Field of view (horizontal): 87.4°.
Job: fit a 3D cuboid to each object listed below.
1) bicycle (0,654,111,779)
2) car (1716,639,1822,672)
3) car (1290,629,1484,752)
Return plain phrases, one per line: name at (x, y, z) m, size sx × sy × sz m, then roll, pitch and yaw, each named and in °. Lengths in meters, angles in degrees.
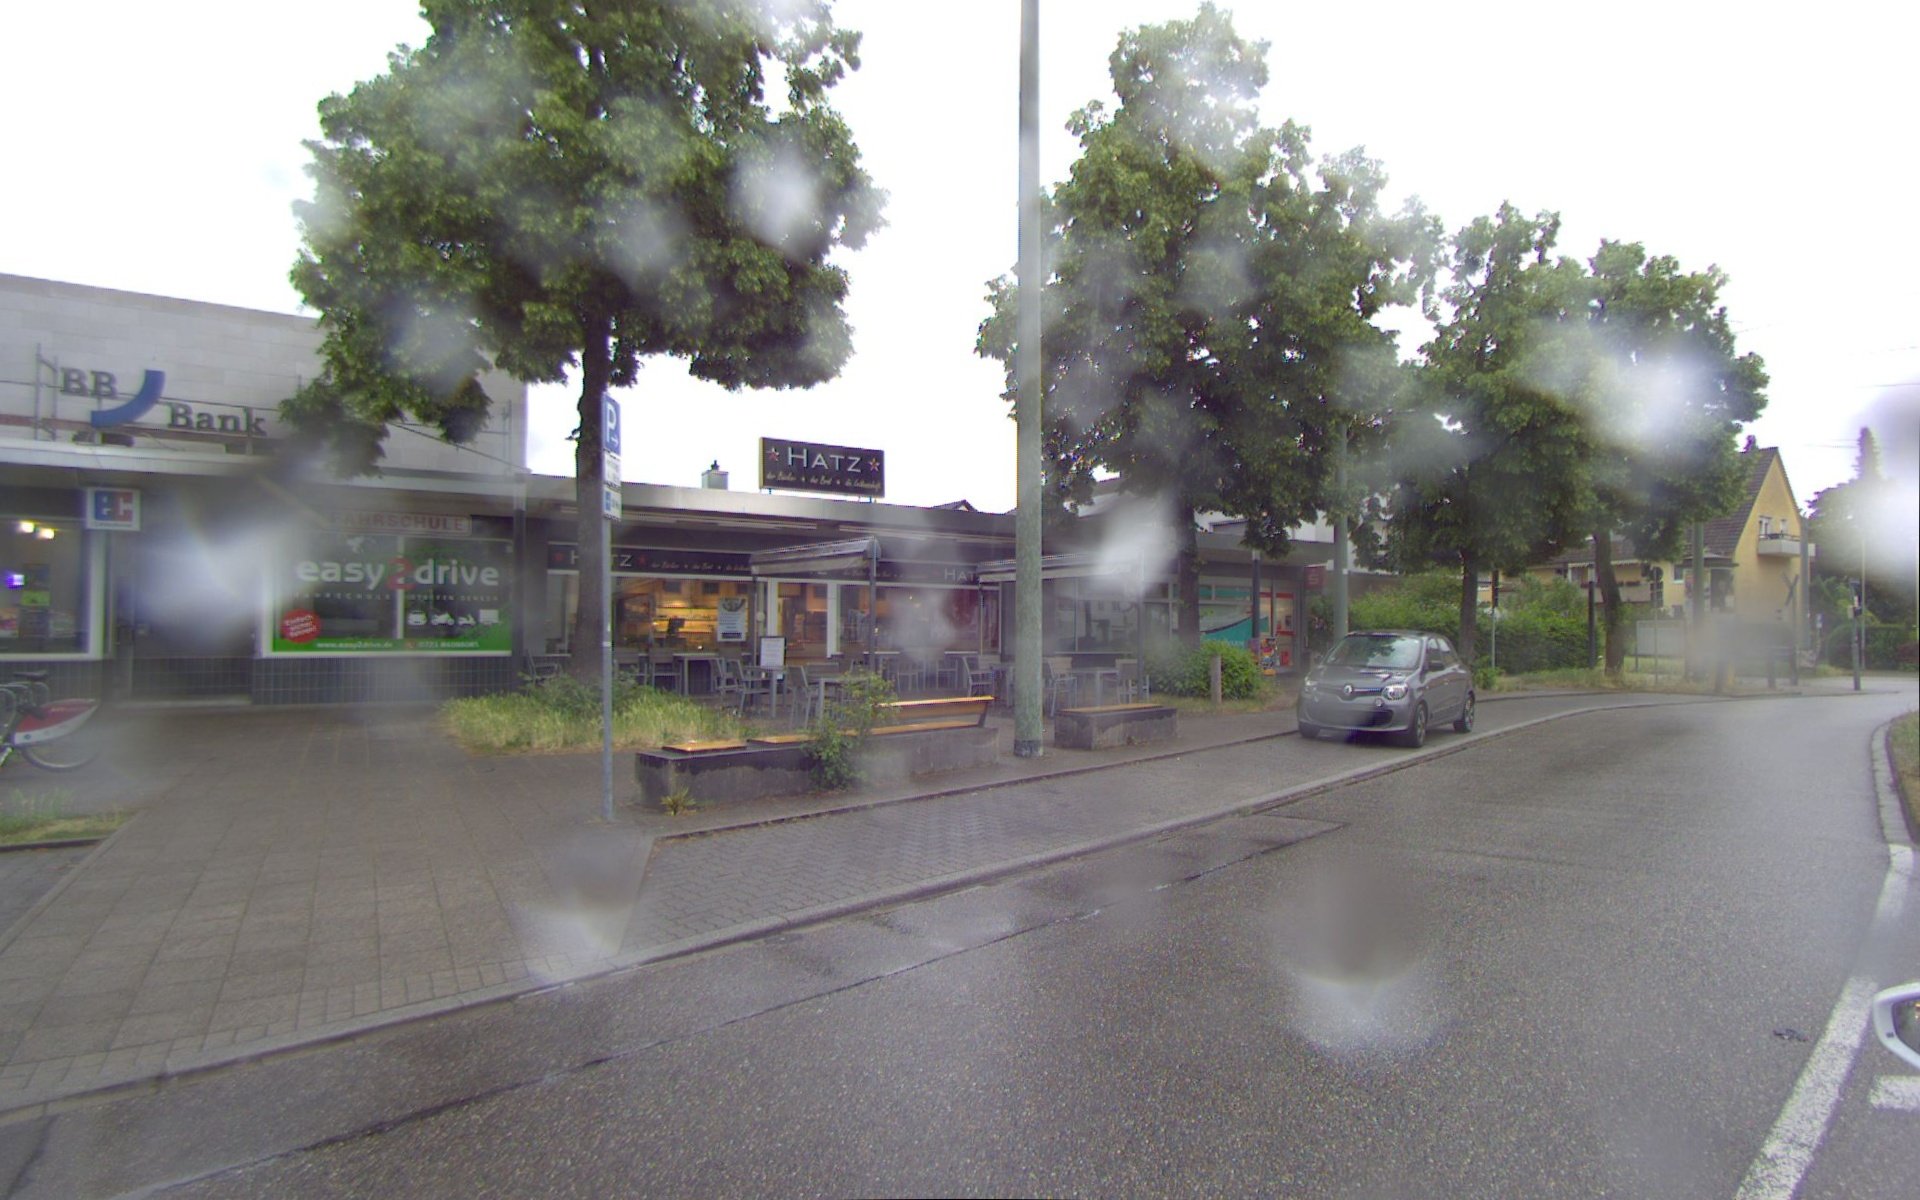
bicycle at (-8.996, 1.081, 9.260) m, size 0.314 × 1.122 × 1.739 m, roll 2°, pitch 0°, yaw 43°
car at (41.964, 2.850, 52.185) m, size 1.815 × 1.476 × 3.960 m, roll 2°, pitch 0°, yaw -35°
car at (6.382, 1.229, 14.824) m, size 1.598 × 1.516 × 3.649 m, roll 2°, pitch 0°, yaw 40°
